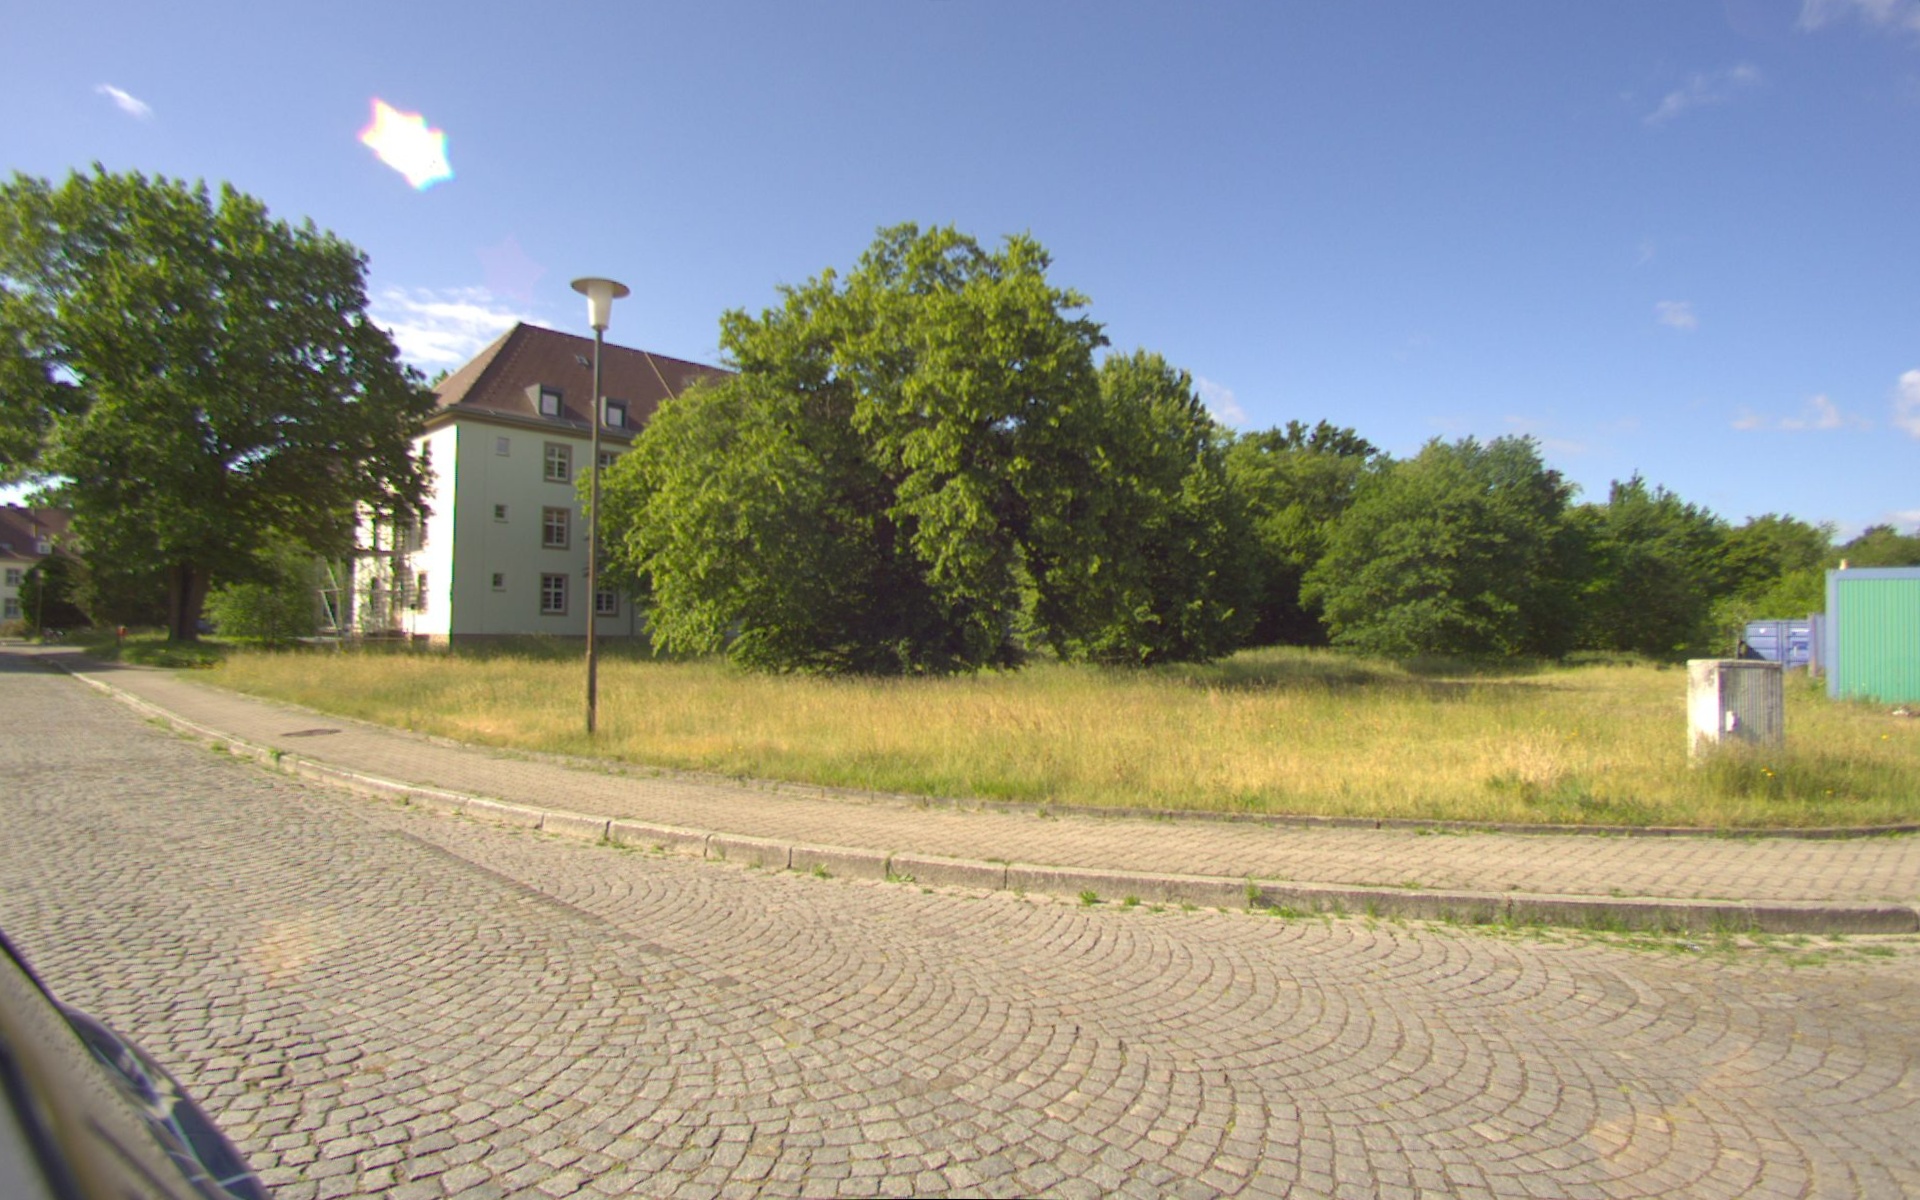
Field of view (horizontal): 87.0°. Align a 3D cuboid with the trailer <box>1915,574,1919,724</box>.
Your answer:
[{"bbox_3d":[16.880,0.753,14.160,4.973,2.373,2.067,-1,-3,41],"label":"trailer"}]

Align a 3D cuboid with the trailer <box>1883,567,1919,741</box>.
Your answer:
[{"bbox_3d":[14.921,0.723,12.800,2.105,2.315,4.674,3,-3,-44],"label":"trailer"}]
